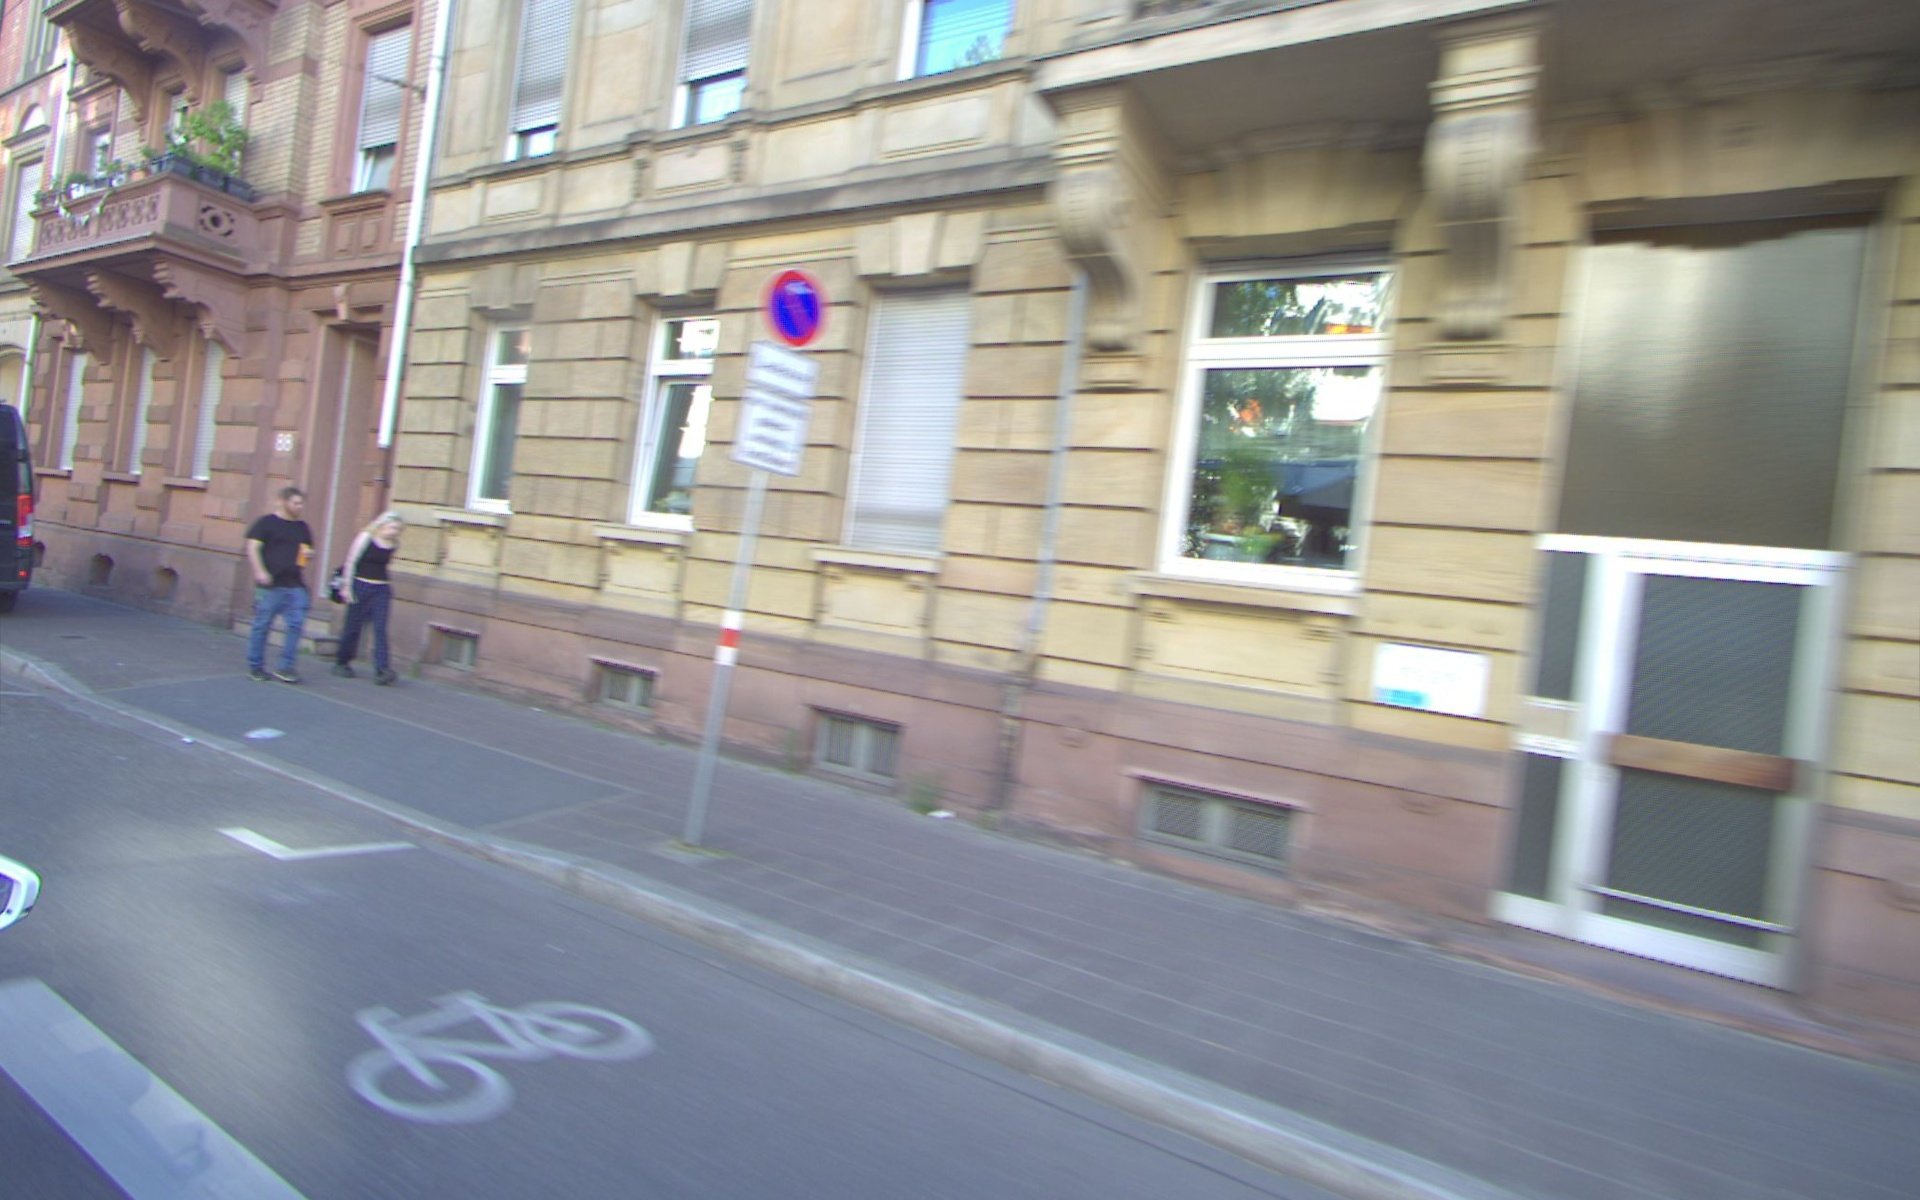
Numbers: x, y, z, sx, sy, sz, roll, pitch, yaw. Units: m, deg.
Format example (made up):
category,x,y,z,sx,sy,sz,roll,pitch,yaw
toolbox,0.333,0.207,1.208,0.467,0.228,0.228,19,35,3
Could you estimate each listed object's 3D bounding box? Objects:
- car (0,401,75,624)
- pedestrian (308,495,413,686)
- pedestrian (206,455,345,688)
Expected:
category,x,y,z,sx,sy,sz,roll,pitch,yaw
car,-13.491,-1.330,12.413,5.627,2.465,2.274,7,-1,33
pedestrian,-5.957,-0.091,9.998,0.596,1.805,0.553,7,2,30
pedestrian,-6.336,-0.257,9.313,0.809,2.038,0.586,7,0,30
